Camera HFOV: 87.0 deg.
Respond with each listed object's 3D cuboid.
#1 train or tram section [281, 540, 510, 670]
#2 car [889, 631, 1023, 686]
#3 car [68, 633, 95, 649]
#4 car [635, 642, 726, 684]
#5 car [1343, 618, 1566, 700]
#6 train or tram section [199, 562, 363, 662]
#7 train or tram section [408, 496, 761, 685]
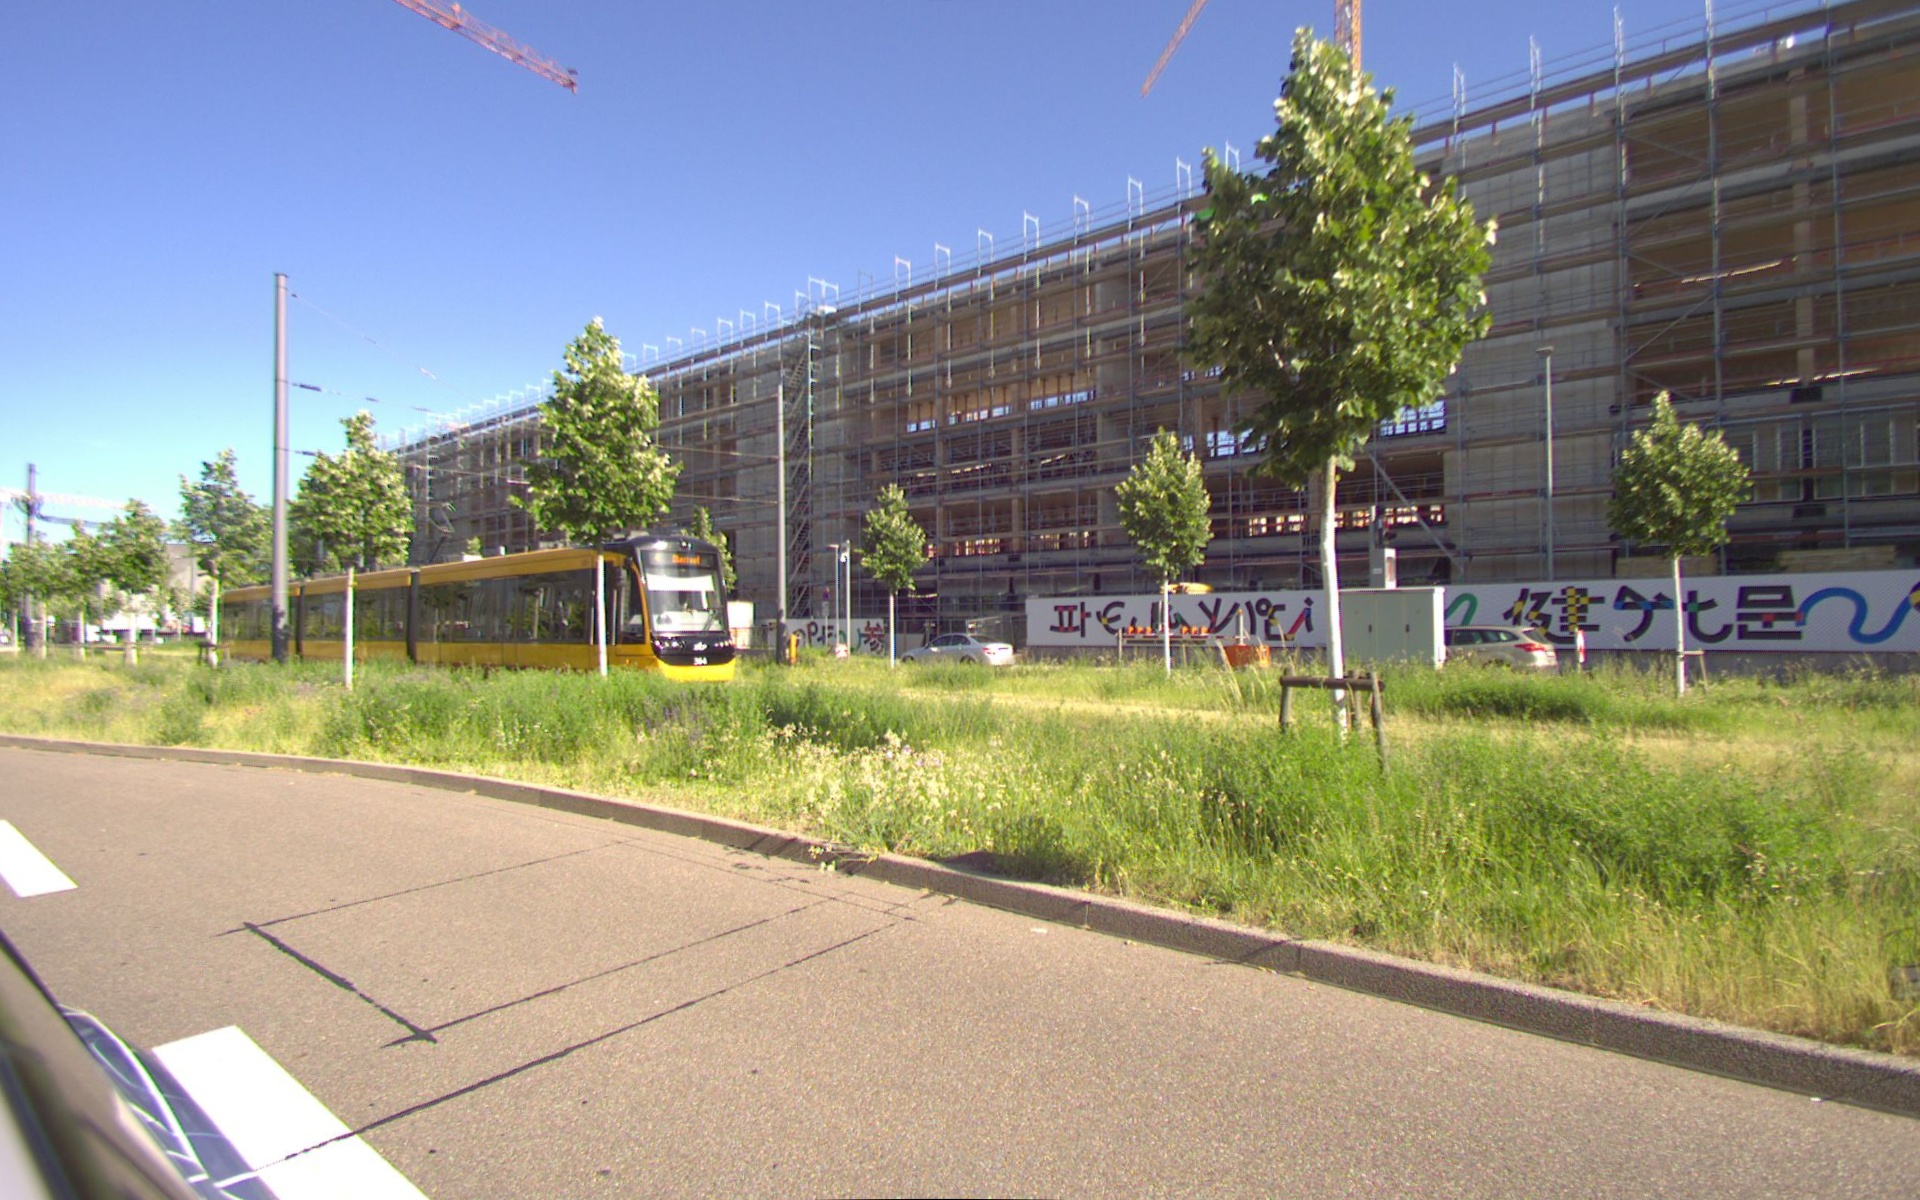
[{"bbox_3d":[-19.198,0.312,33.759,12.788,3.666,2.785,-2,-2,43],"label":"train or tram section"},{"bbox_3d":[-0.180,2.009,35.635,4.523,1.806,1.973,-2,-2,40],"label":"car"},{"bbox_3d":[-124.662,5.840,143.558,4.394,2.175,2.308,-2,-2,40],"label":"car"},{"bbox_3d":[-13.056,2.880,47.161,4.526,1.806,1.972,-2,-2,42],"label":"car"},{"bbox_3d":[11.942,1.373,24.617,4.524,1.806,1.973,-2,-2,41],"label":"car"},{"bbox_3d":[-28.682,0.614,42.364,12.788,3.666,2.785,-2,-2,43],"label":"train or tram section"},{"bbox_3d":[-9.865,-0.011,25.021,12.789,3.666,2.784,-2,-2,43],"label":"train or tram section"}]
